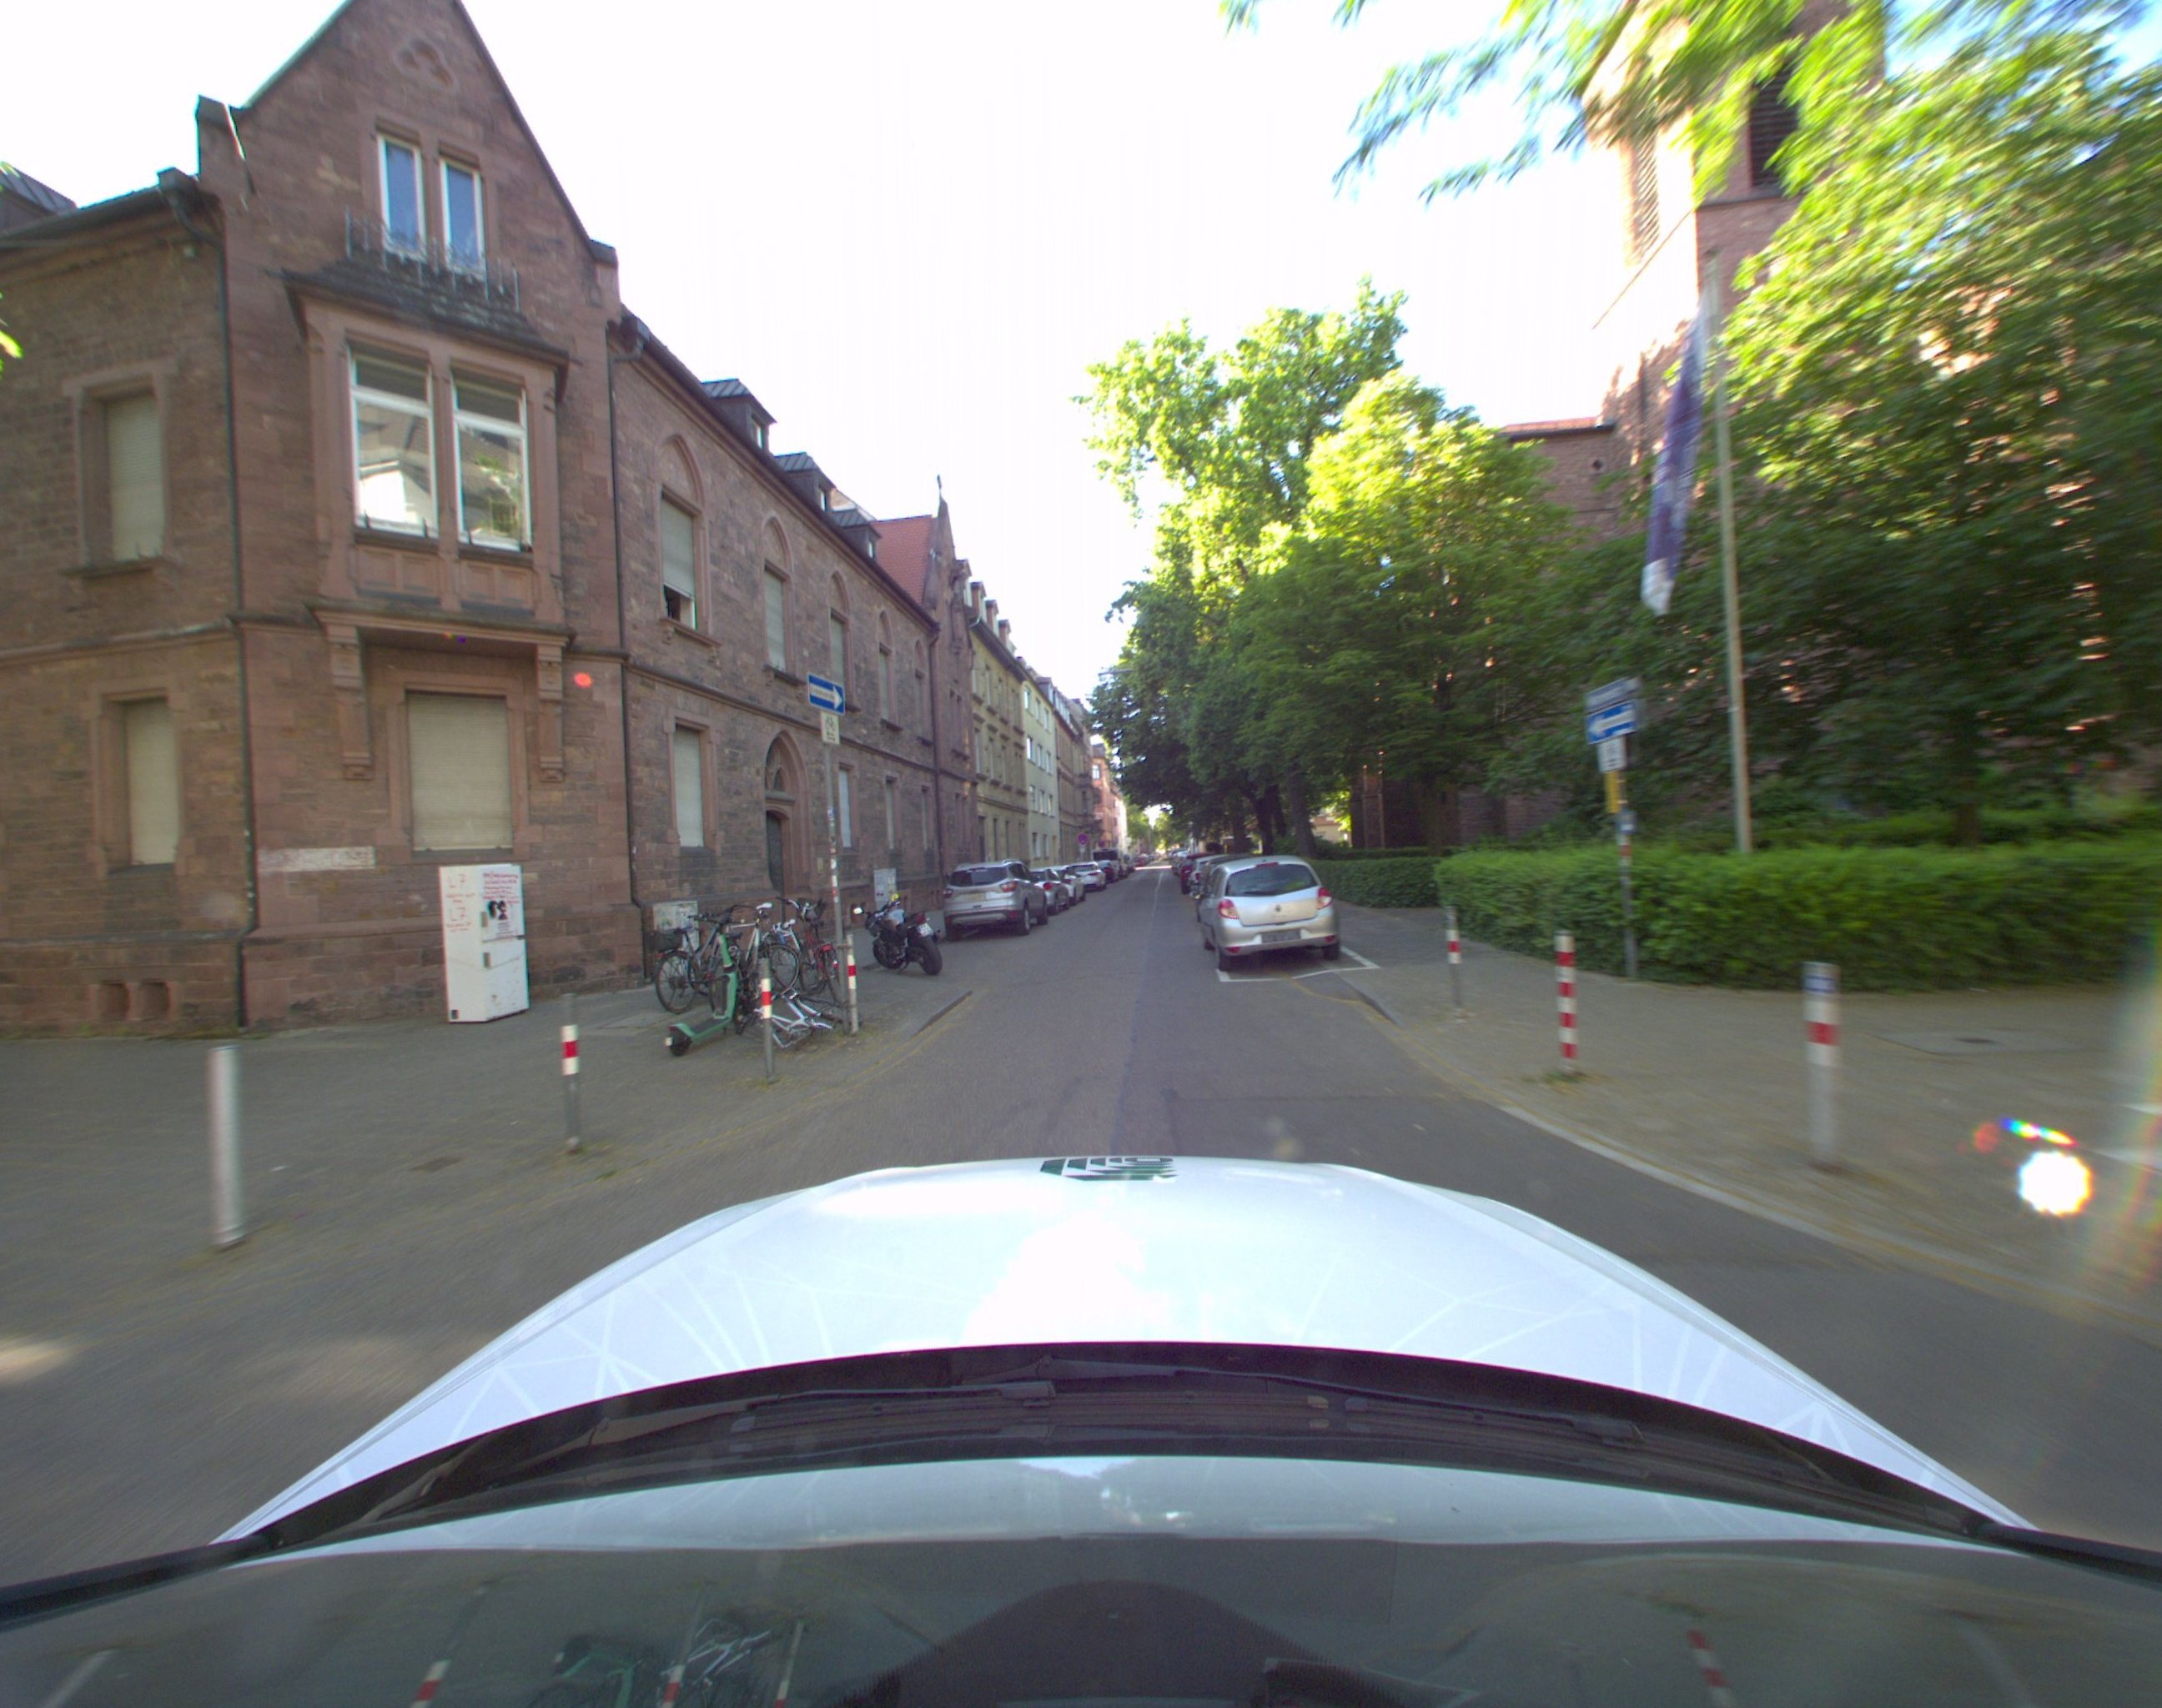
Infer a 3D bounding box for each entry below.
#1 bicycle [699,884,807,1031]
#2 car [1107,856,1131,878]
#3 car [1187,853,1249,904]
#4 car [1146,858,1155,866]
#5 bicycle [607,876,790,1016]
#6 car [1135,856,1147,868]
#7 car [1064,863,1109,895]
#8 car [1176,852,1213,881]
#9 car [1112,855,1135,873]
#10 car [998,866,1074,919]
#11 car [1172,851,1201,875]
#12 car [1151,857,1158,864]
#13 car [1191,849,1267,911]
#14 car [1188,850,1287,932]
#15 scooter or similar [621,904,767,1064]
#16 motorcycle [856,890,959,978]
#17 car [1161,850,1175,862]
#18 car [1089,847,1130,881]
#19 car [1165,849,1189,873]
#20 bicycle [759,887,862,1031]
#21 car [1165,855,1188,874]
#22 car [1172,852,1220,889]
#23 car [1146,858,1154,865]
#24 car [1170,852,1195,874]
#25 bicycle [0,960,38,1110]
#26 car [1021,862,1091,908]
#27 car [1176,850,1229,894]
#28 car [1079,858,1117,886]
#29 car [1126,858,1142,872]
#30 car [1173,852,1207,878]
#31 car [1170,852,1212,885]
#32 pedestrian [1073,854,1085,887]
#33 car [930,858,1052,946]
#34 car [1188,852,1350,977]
[{"bbox_3d":[-3.789,1.103,9.613,0.573,1.423,2.494,-3,0,-9],"label":"bicycle"},{"bbox_3d":[3.263,1.081,69.298,1.784,1.573,4.007,-3,2,5],"label":"car"},{"bbox_3d":[4.781,0.799,28.890,1.832,1.596,4.006,-3,0,5],"label":"car"},{"bbox_3d":[16.611,1.937,195.270,1.984,1.647,4.006,-3,-1,6],"label":"car"},{"bbox_3d":[-4.682,1.044,10.292,0.679,1.423,2.802,-3,0,6],"label":"bicycle"},{"bbox_3d":[10.215,1.351,137.751,1.766,1.816,4.009,-1,0,8],"label":"car"},{"bbox_3d":[0.315,1.171,39.784,1.763,1.353,4.006,-3,0,5],"label":"car"},{"bbox_3d":[6.818,0.732,49.321,1.984,1.574,4.006,-3,-1,5],"label":"car"},{"bbox_3d":[4.093,0.929,77.614,1.893,1.574,4.006,-3,-1,5],"label":"car"},{"bbox_3d":[-1.326,1.138,25.650,1.717,1.393,4.006,-3,0,6],"label":"car"},{"bbox_3d":[7.846,0.671,60.867,1.984,1.574,4.006,-3,-1,5],"label":"car"},{"bbox_3d":[20.367,1.783,225.947,1.984,1.647,4.006,-3,-1,6],"label":"car"},{"bbox_3d":[4.213,0.706,23.721,1.733,1.574,4.006,-3,-1,5],"label":"car"},{"bbox_3d":[3.355,0.753,18.126,1.715,1.522,4.006,-3,-1,5],"label":"car"},{"bbox_3d":[-3.588,1.160,7.656,0.526,1.277,1.304,-3,-1,9],"label":"scooter or similar"},{"bbox_3d":[-2.771,1.203,12.790,0.669,1.207,2.285,-3,-1,-36],"label":"motorcycle"},{"bbox_3d":[12.990,0.293,121.329,1.984,1.728,4.006,-4,0,6],"label":"car"},{"bbox_3d":[2.035,0.697,57.042,2.297,2.114,5.180,-3,-1,7],"label":"car"},{"bbox_3d":[9.815,0.697,83.541,2.150,2.255,4.532,-3,-1,5],"label":"car"},{"bbox_3d":[-3.052,1.101,9.443,0.683,1.345,2.494,-3,0,-9],"label":"bicycle"},{"bbox_3d":[8.434,0.897,72.214,1.784,1.574,4.228,-3,-1,5],"label":"car"},{"bbox_3d":[5.393,0.766,38.777,1.984,1.574,4.006,-3,-1,5],"label":"car"},{"bbox_3d":[17.306,1.789,203.807,1.984,1.647,4.006,-3,-1,6],"label":"car"},{"bbox_3d":[8.125,0.697,65.223,1.784,1.574,4.006,-3,-1,5],"label":"car"},{"bbox_3d":[-9.770,1.543,6.576,1.952,1.180,0.686,-3,1,7],"label":"bicycle"},{"bbox_3d":[-0.847,1.101,30.147,1.872,1.411,4.007,-5,-1,7],"label":"car"},{"bbox_3d":[4.971,0.723,33.734,1.885,1.625,4.006,-3,-1,5],"label":"car"},{"bbox_3d":[1.106,1.079,50.392,1.984,1.574,4.006,-3,-1,5],"label":"car"},{"bbox_3d":[6.973,1.399,107.079,1.941,1.709,4.005,-3,-1,4],"label":"car"},{"bbox_3d":[7.173,0.705,53.823,1.984,1.574,4.006,-3,-1,5],"label":"car"},{"bbox_3d":[5.847,0.751,43.586,1.984,1.574,4.006,-3,-1,5],"label":"car"},{"bbox_3d":[-0.124,1.035,51.261,0.683,2.013,0.691,-3,-1,-2],"label":"pedestrian"},{"bbox_3d":[-1.983,1.030,19.197,1.872,1.707,4.007,-5,-1,7],"label":"car"},{"bbox_3d":[2.714,0.782,12.620,1.716,1.522,4.004,-4,0,3],"label":"car"}]
